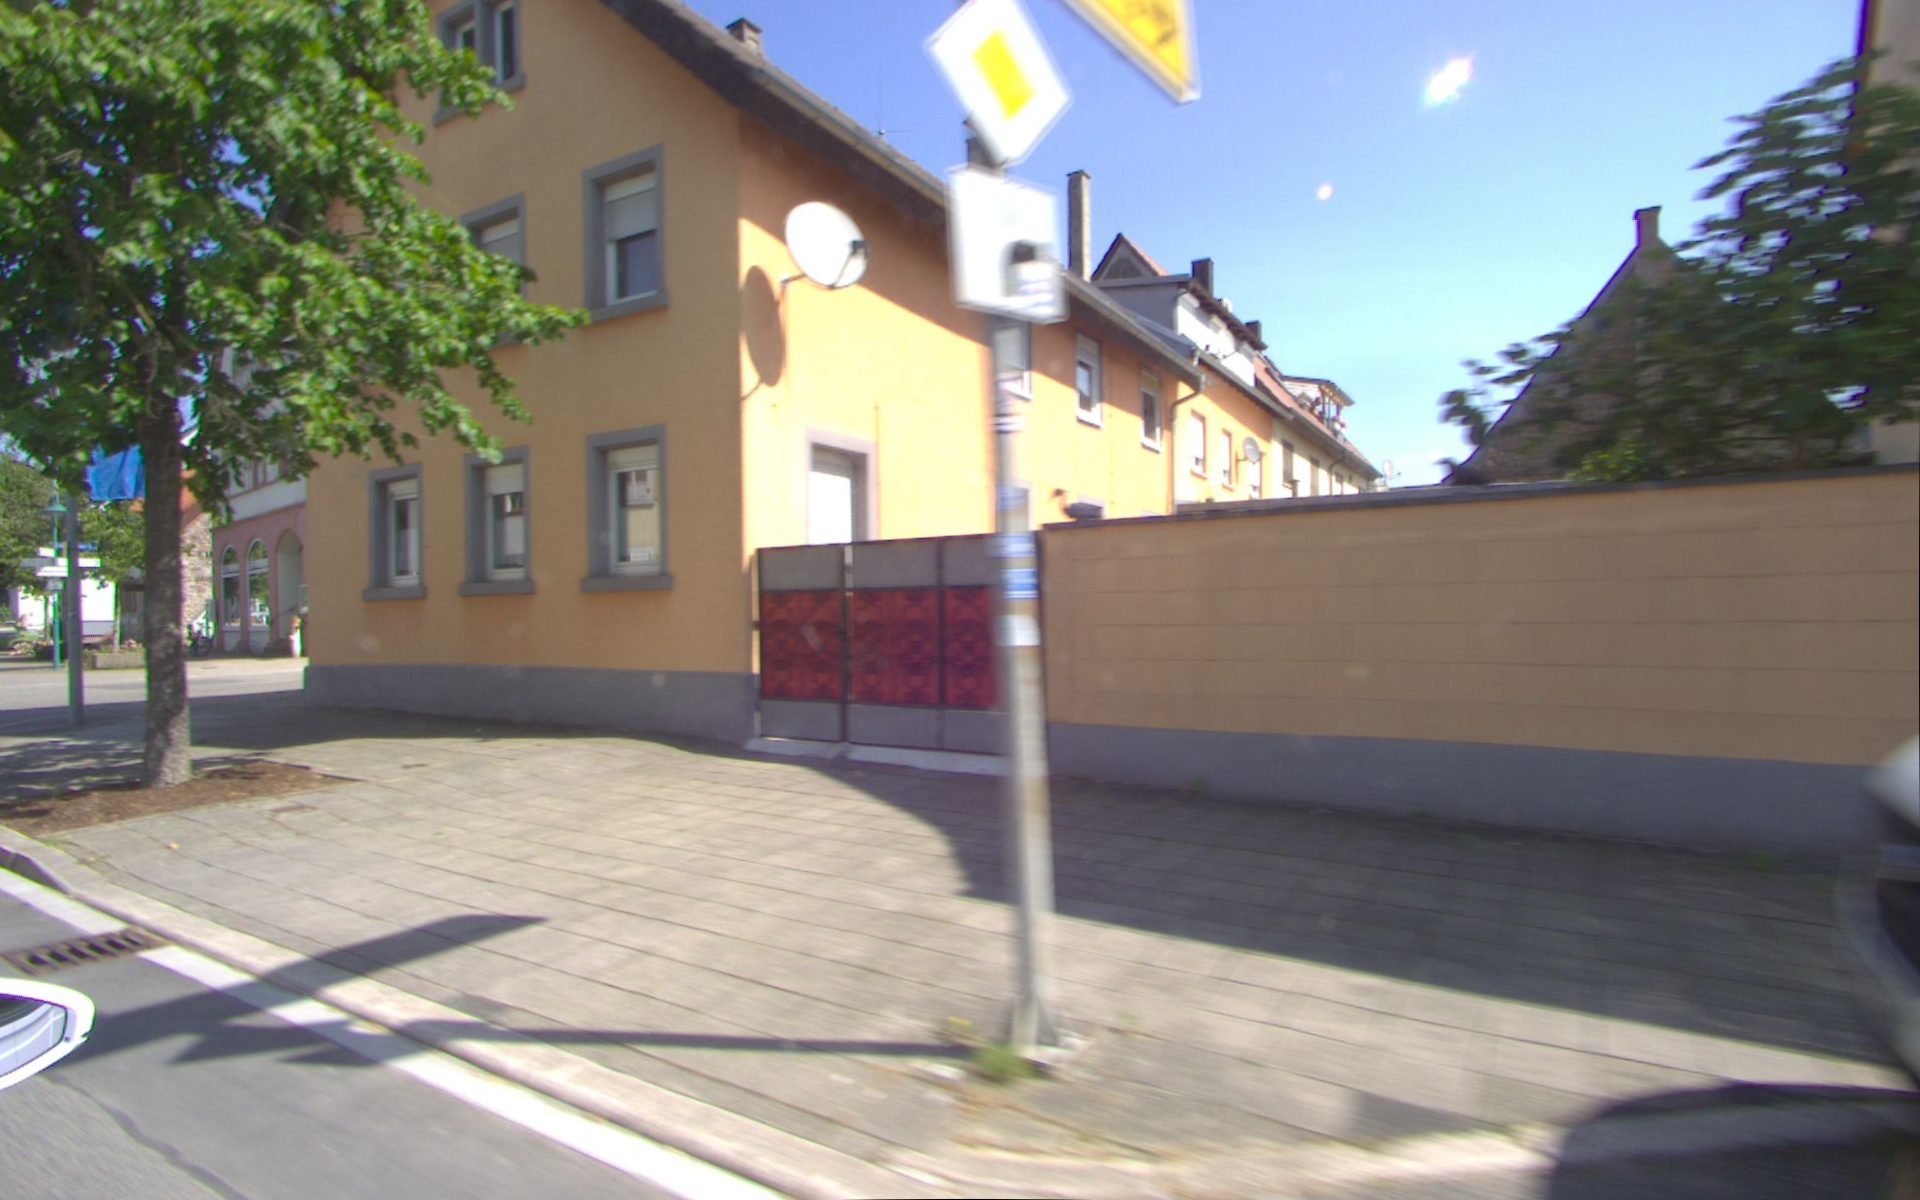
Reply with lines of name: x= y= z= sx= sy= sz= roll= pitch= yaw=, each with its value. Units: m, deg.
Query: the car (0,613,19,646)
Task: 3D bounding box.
car: x=-48.254 y=1.412 z=48.248 sx=1.978 sy=1.589 sz=4.129 roll=0 pitch=-1 yaw=42

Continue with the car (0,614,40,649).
car: x=-46.172 y=1.452 z=46.632 sx=1.977 sy=1.644 sz=4.779 roll=0 pitch=-1 yaw=42

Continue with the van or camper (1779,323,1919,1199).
van or camper: x=4.310 y=0.426 z=0.903 sx=5.268 sy=1.980 sz=1.989 roll=0 pitch=1 yaw=32

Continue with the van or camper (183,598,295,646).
van or camper: x=-32.364 y=0.952 z=45.001 sx=3.954 sy=2.040 sz=1.983 roll=0 pitch=0 yaw=-40

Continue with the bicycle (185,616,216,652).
bicycle: x=-25.163 y=1.110 z=33.153 sx=0.589 sy=1.151 sz=1.730 roll=-1 pitch=0 yaw=-45

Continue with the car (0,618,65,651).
car: x=-41.027 y=1.456 z=42.844 sx=1.978 sy=1.362 sz=3.904 roll=0 pitch=-1 yaw=42
